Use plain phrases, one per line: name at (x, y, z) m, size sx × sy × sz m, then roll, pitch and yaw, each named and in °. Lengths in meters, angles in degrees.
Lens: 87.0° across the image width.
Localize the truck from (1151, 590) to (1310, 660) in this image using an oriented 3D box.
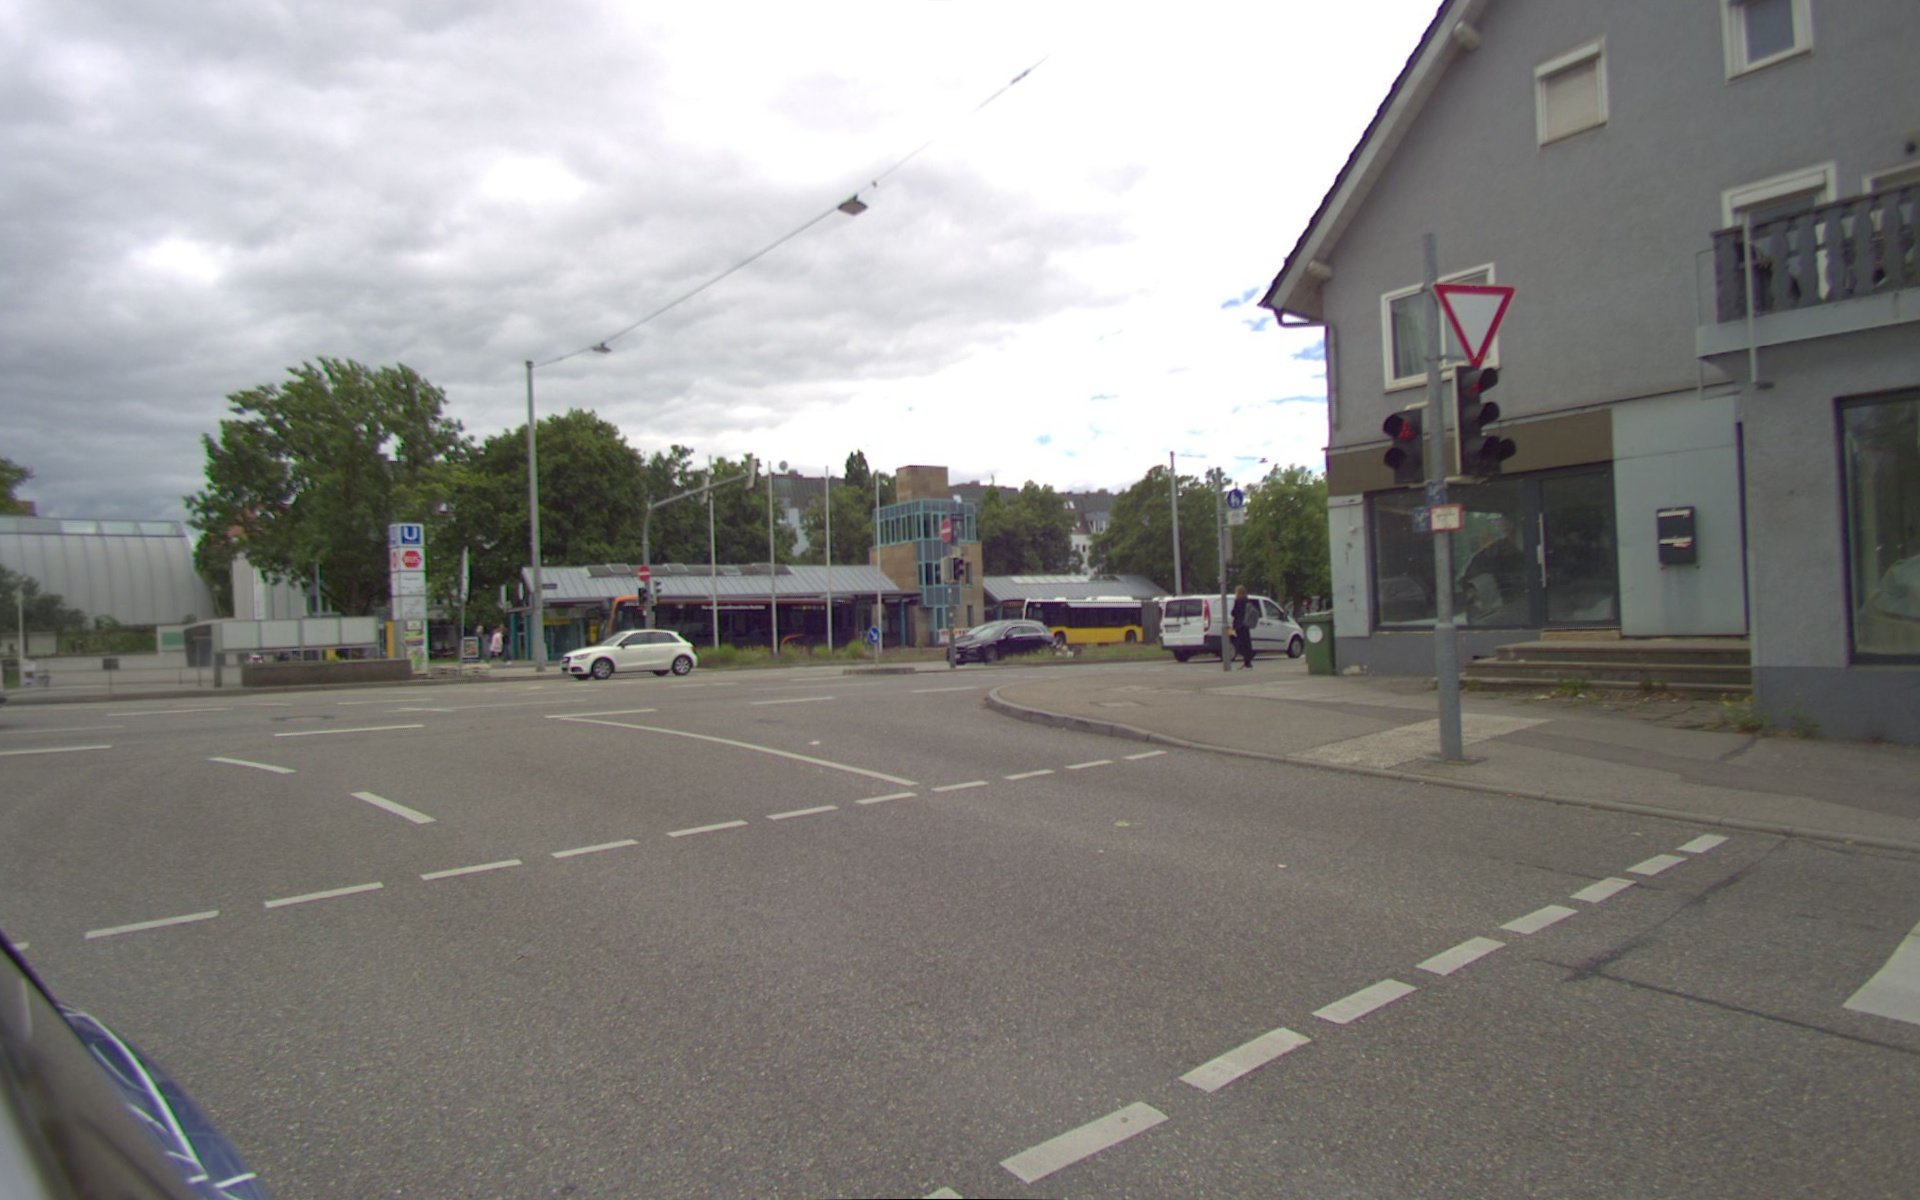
truck at (7.983, 0.691, 29.733) m, size 4.766 × 1.905 × 2.004 m, roll 0°, pitch -1°, yaw -38°

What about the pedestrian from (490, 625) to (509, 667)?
pedestrian at (-22.221, 2.218, 48.816) m, size 0.720 × 2.029 × 0.855 m, roll 2°, pitch -3°, yaw -29°

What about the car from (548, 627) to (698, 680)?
car at (-9.913, 1.532, 29.900) m, size 3.873 × 1.391 × 1.634 m, roll 0°, pitch -1°, yaw -40°

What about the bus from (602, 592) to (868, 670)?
bus at (-9.694, 1.273, 45.122) m, size 11.662 × 3.086 × 2.005 m, roll -1°, pitch -3°, yaw -36°

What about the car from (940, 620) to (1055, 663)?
car at (1.323, 1.391, 34.799) m, size 3.856 × 1.321 × 1.670 m, roll 0°, pitch -1°, yaw -40°

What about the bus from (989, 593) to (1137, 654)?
bus at (6.372, 1.429, 61.921) m, size 9.097 × 3.510 × 3.229 m, roll 1°, pitch -2°, yaw -35°

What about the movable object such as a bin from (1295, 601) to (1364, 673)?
movable object such as a bin at (6.045, 0.604, 16.572) m, size 0.829 × 1.143 × 0.765 m, roll 3°, pitch -3°, yaw -42°

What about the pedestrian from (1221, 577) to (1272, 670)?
pedestrian at (5.939, 0.488, 20.950) m, size 0.765 × 1.880 × 0.727 m, roll 3°, pitch -3°, yaw -44°

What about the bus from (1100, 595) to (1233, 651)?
bus at (13.777, 1.532, 67.076) m, size 9.073 × 3.510 × 3.229 m, roll 1°, pitch -2°, yaw -35°
